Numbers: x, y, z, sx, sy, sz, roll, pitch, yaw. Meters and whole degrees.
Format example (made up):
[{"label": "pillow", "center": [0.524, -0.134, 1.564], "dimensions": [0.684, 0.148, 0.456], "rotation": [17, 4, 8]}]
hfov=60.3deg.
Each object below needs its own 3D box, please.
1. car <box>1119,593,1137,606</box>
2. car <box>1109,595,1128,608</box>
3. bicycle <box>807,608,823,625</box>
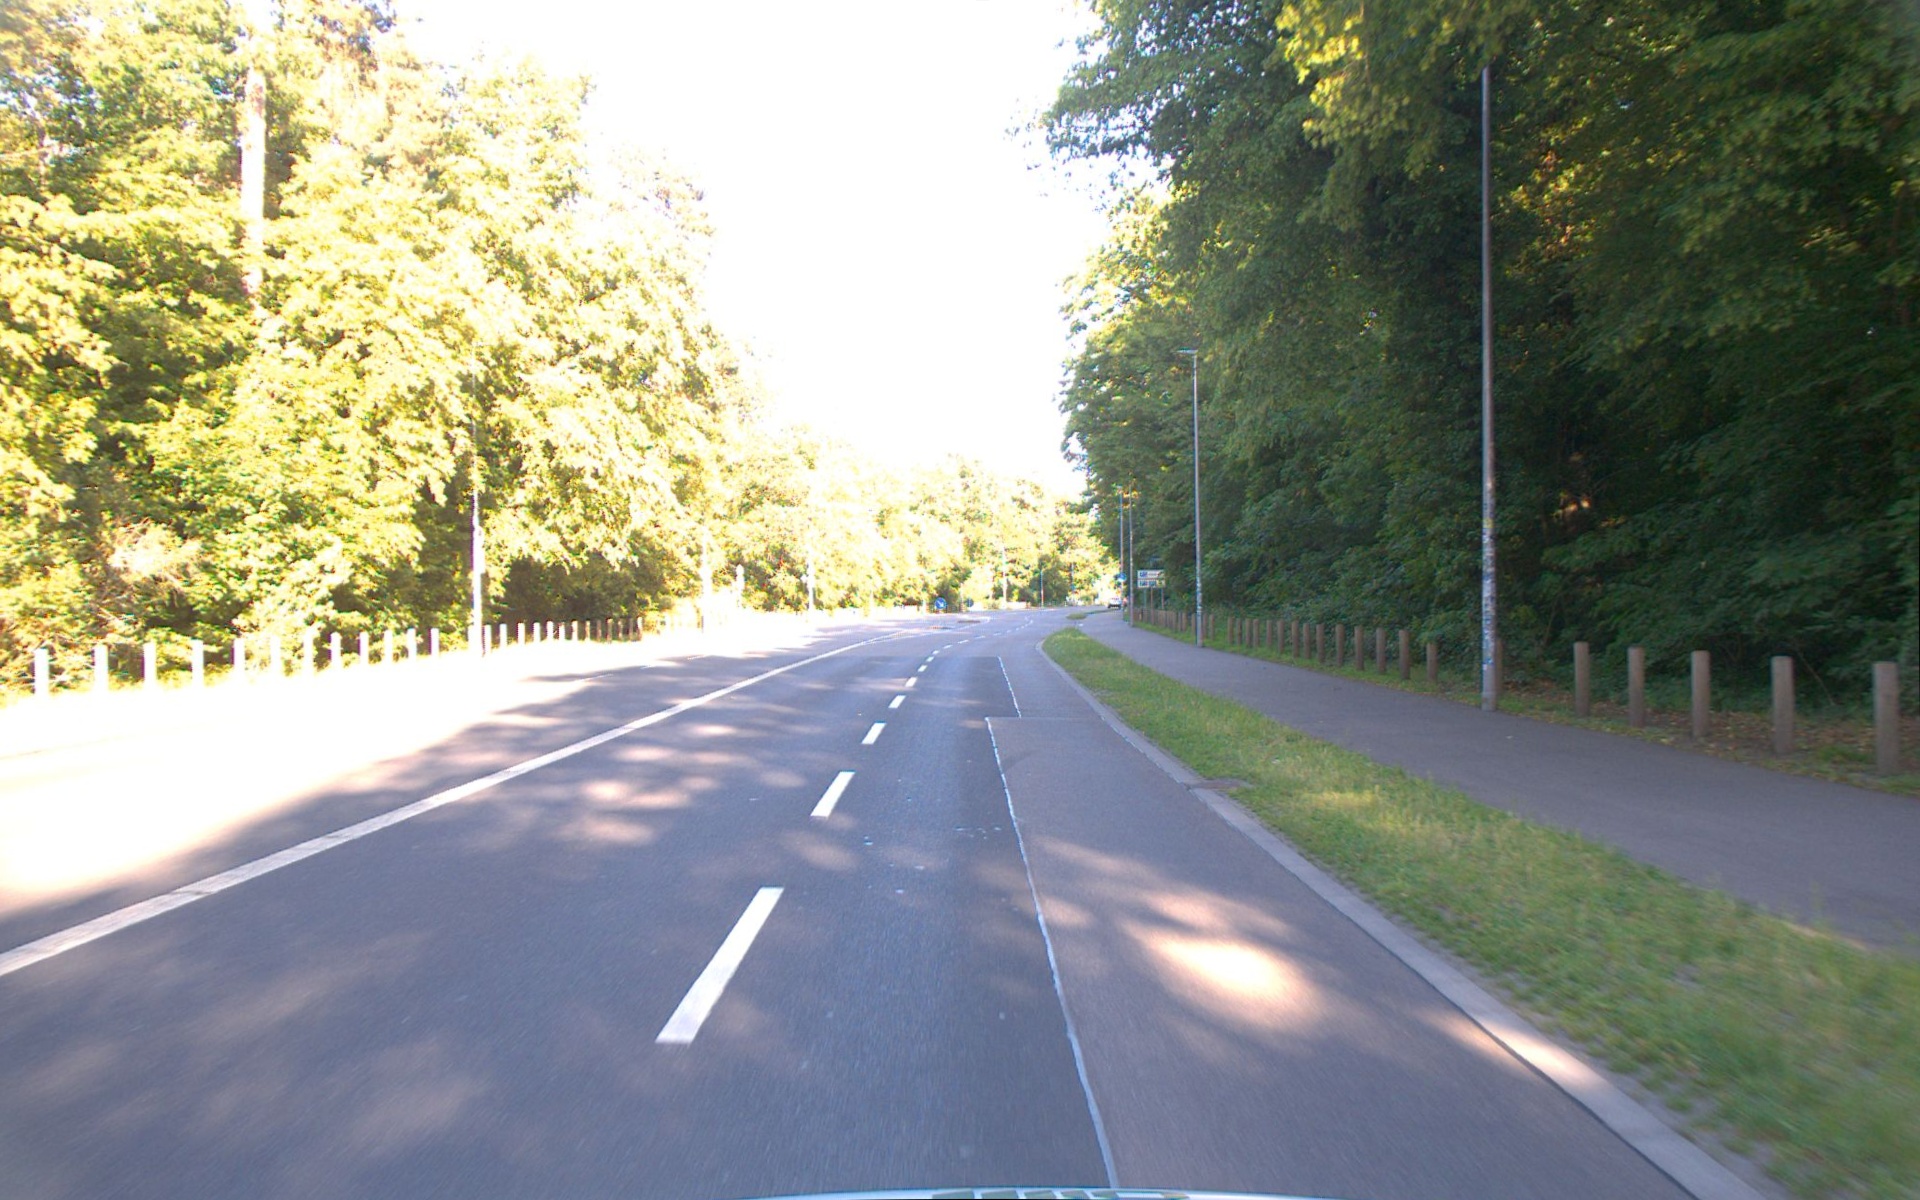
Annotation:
[{"label": "car", "center": [24.839, -0.041, 244.608], "dimensions": [1.840, 1.796, 4.002], "rotation": [-1, 0, 17]}, {"label": "car", "center": [22.064, 0.209, 230.461], "dimensions": [1.840, 1.739, 4.002], "rotation": [-1, 0, 17]}, {"label": "bicycle", "center": [-9.838, 1.145, 112.451], "dimensions": [0.392, 1.152, 2.221], "rotation": [1, 0, 14]}]
